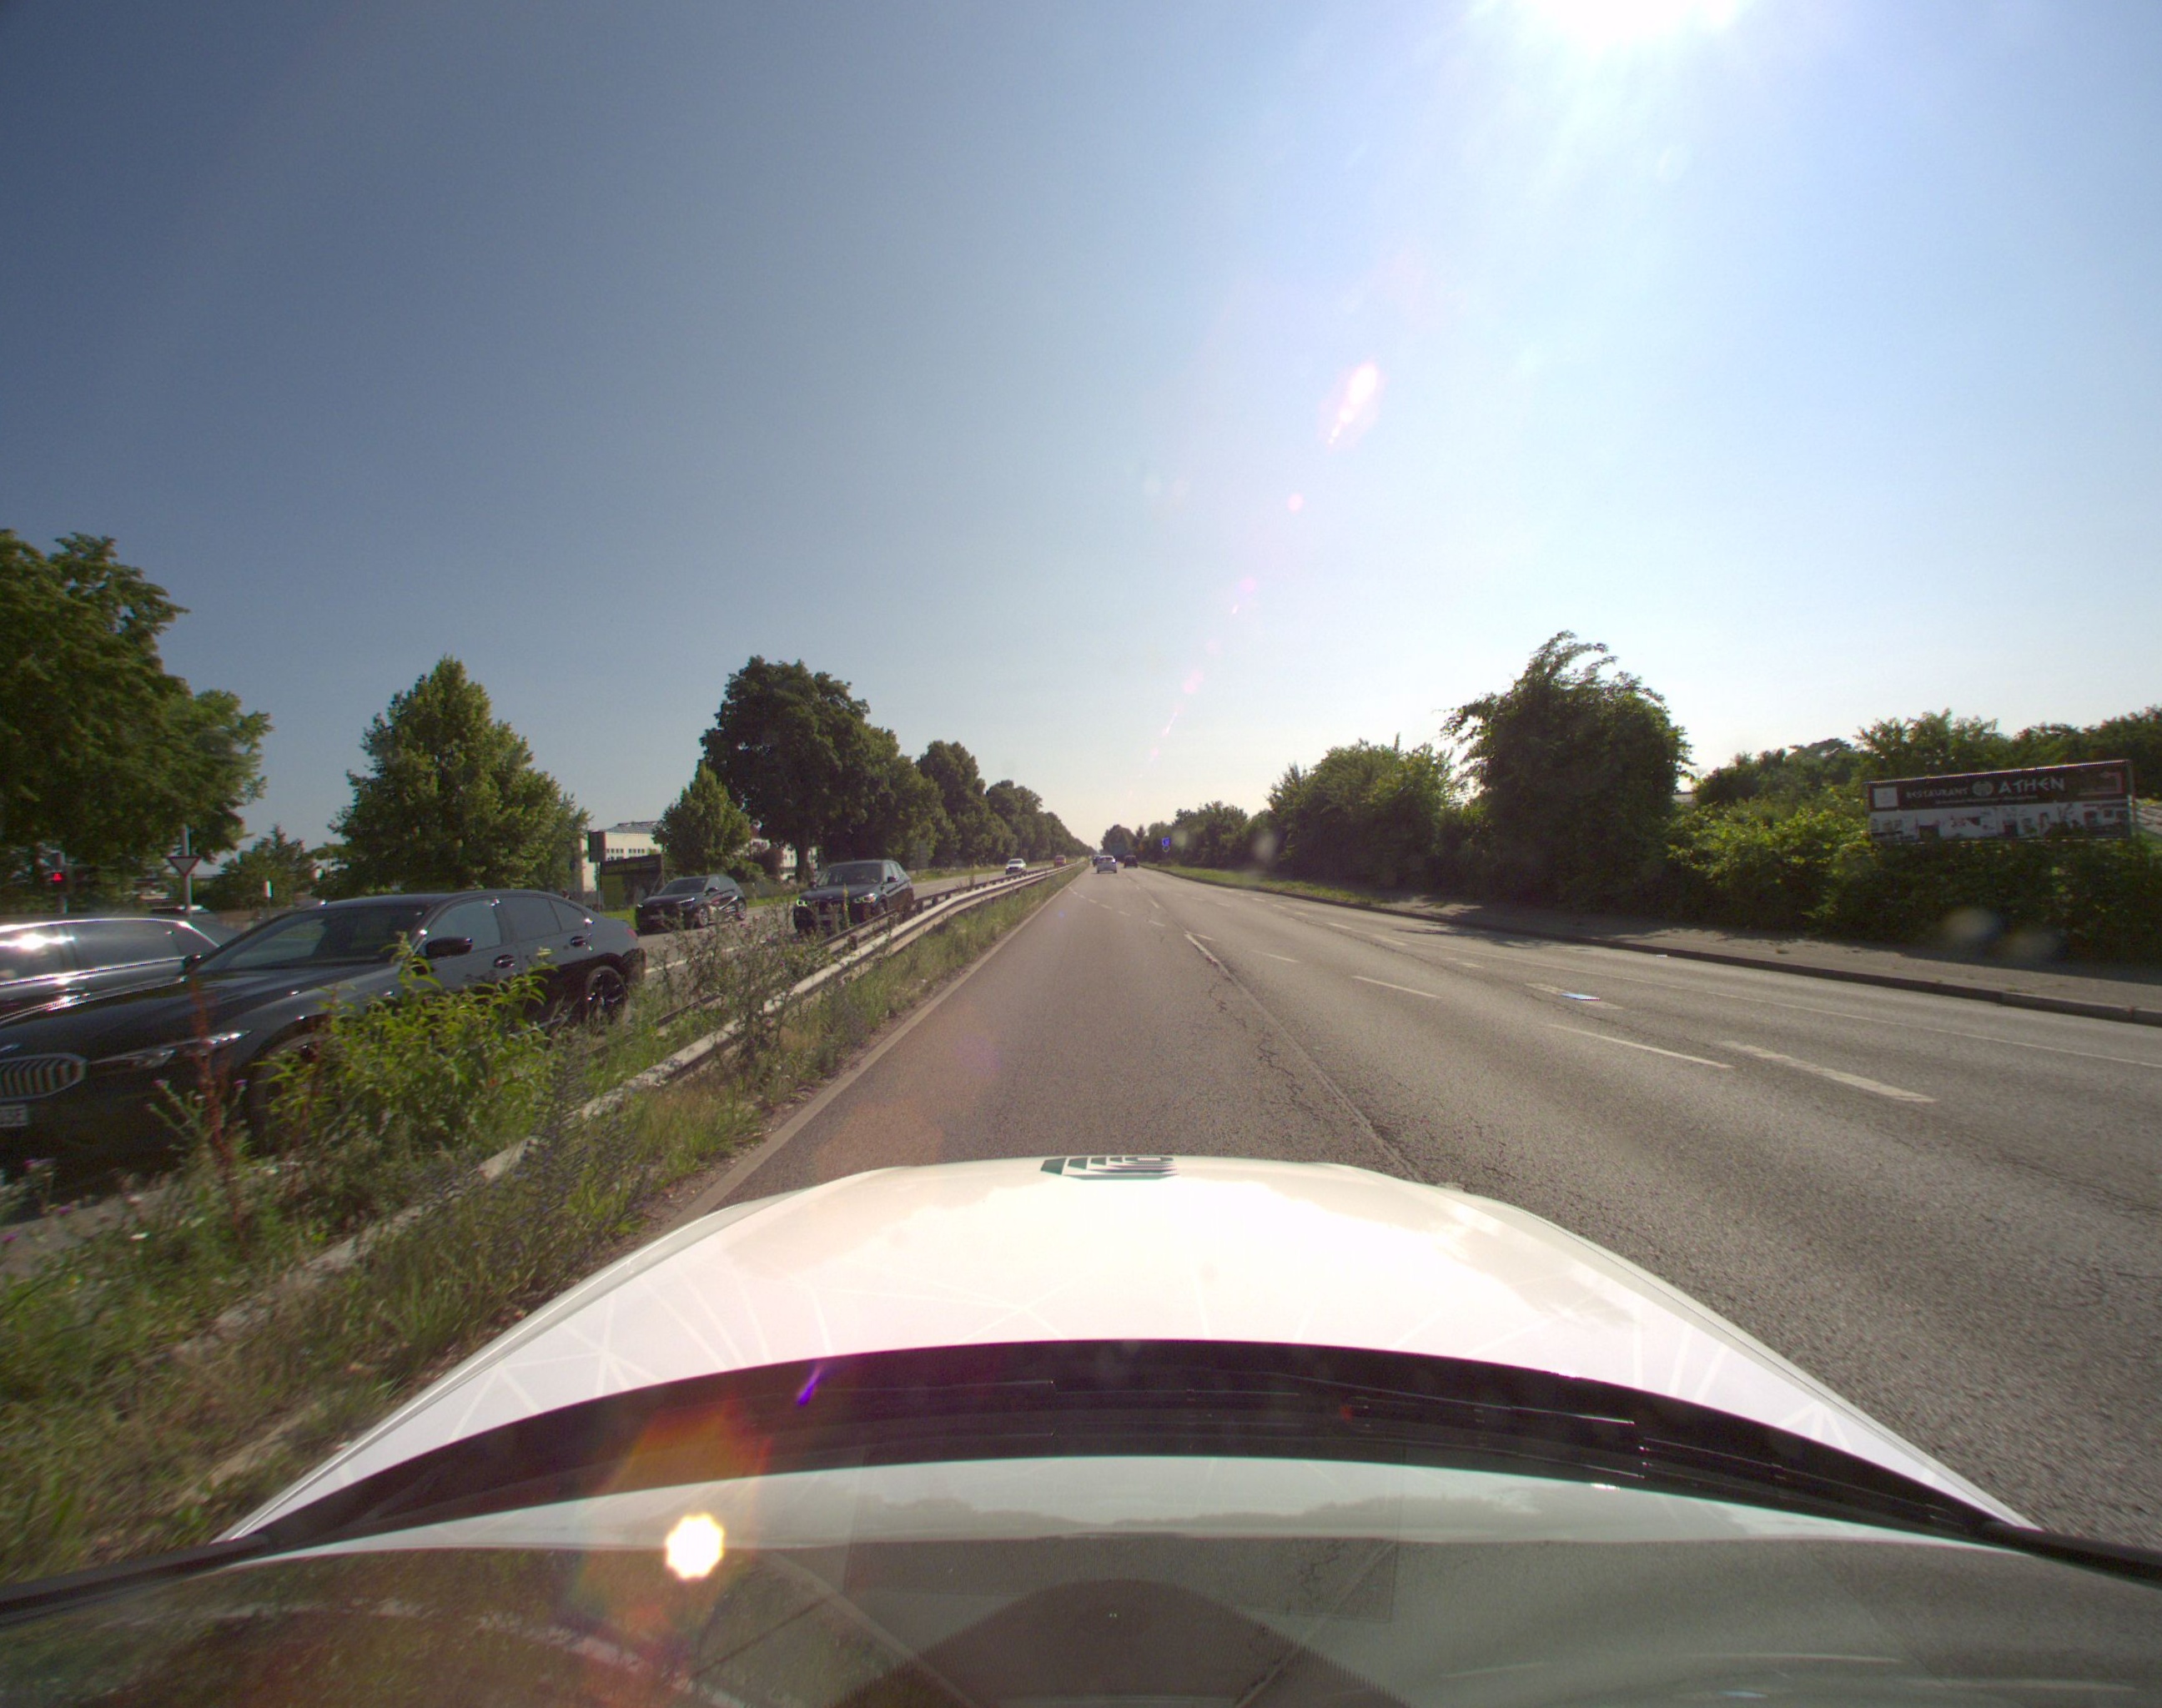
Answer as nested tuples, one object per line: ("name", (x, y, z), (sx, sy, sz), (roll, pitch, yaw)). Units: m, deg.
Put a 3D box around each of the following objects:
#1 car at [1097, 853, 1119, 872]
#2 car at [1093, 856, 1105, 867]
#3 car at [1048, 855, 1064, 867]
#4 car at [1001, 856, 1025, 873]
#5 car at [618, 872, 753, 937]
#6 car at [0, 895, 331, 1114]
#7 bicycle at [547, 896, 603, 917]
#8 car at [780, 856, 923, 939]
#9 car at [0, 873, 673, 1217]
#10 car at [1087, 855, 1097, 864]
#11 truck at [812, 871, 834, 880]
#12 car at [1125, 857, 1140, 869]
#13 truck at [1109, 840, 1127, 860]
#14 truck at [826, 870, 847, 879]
("car", (2.311, 0.716, 70.183), (1.791, 1.552, 4.003), (-2, 0, 2))
("car", (2.442, 1.007, 109.897), (1.566, 1.414, 3.279), (-3, 0, 2))
("car", (-3.362, 0.967, 109.199), (1.906, 1.502, 4.091), (-3, 0, 0))
("car", (-6.783, 1.017, 81.842), (1.987, 1.502, 4.091), (-3, 0, 0))
("car", (-11.798, 1.443, 24.639), (1.840, 1.554, 4.089), (-5, 0, 2))
("car", (-8.727, 1.209, 6.170), (1.922, 1.437, 4.270), (-4, 0, 3))
("bicycle", (-27.412, 2.850, 44.166), (0.830, 0.950, 2.525), (-3, 0, 22))
("car", (-5.091, 0.887, 18.749), (1.840, 1.594, 4.617), (-3, 0, 1))
("car", (-5.383, 1.002, 6.333), (1.810, 1.485, 4.894), (-3, 0, 1))
("car", (1.953, 0.941, 145.821), (1.566, 1.414, 3.279), (-3, 0, 2))
("truck", (-60.155, 4.959, 189.813), (4.485, 2.014, 2.052), (-2, -1, 1))
("car", (6.119, 1.054, 97.113), (1.566, 1.414, 3.279), (-2, -1, 2))
("truck", (6.677, -0.678, 148.635), (2.881, 3.428, 9.173), (-3, 0, 2))
("truck", (-59.549, 5.013, 198.424), (4.485, 2.014, 2.052), (-2, -1, 1))
